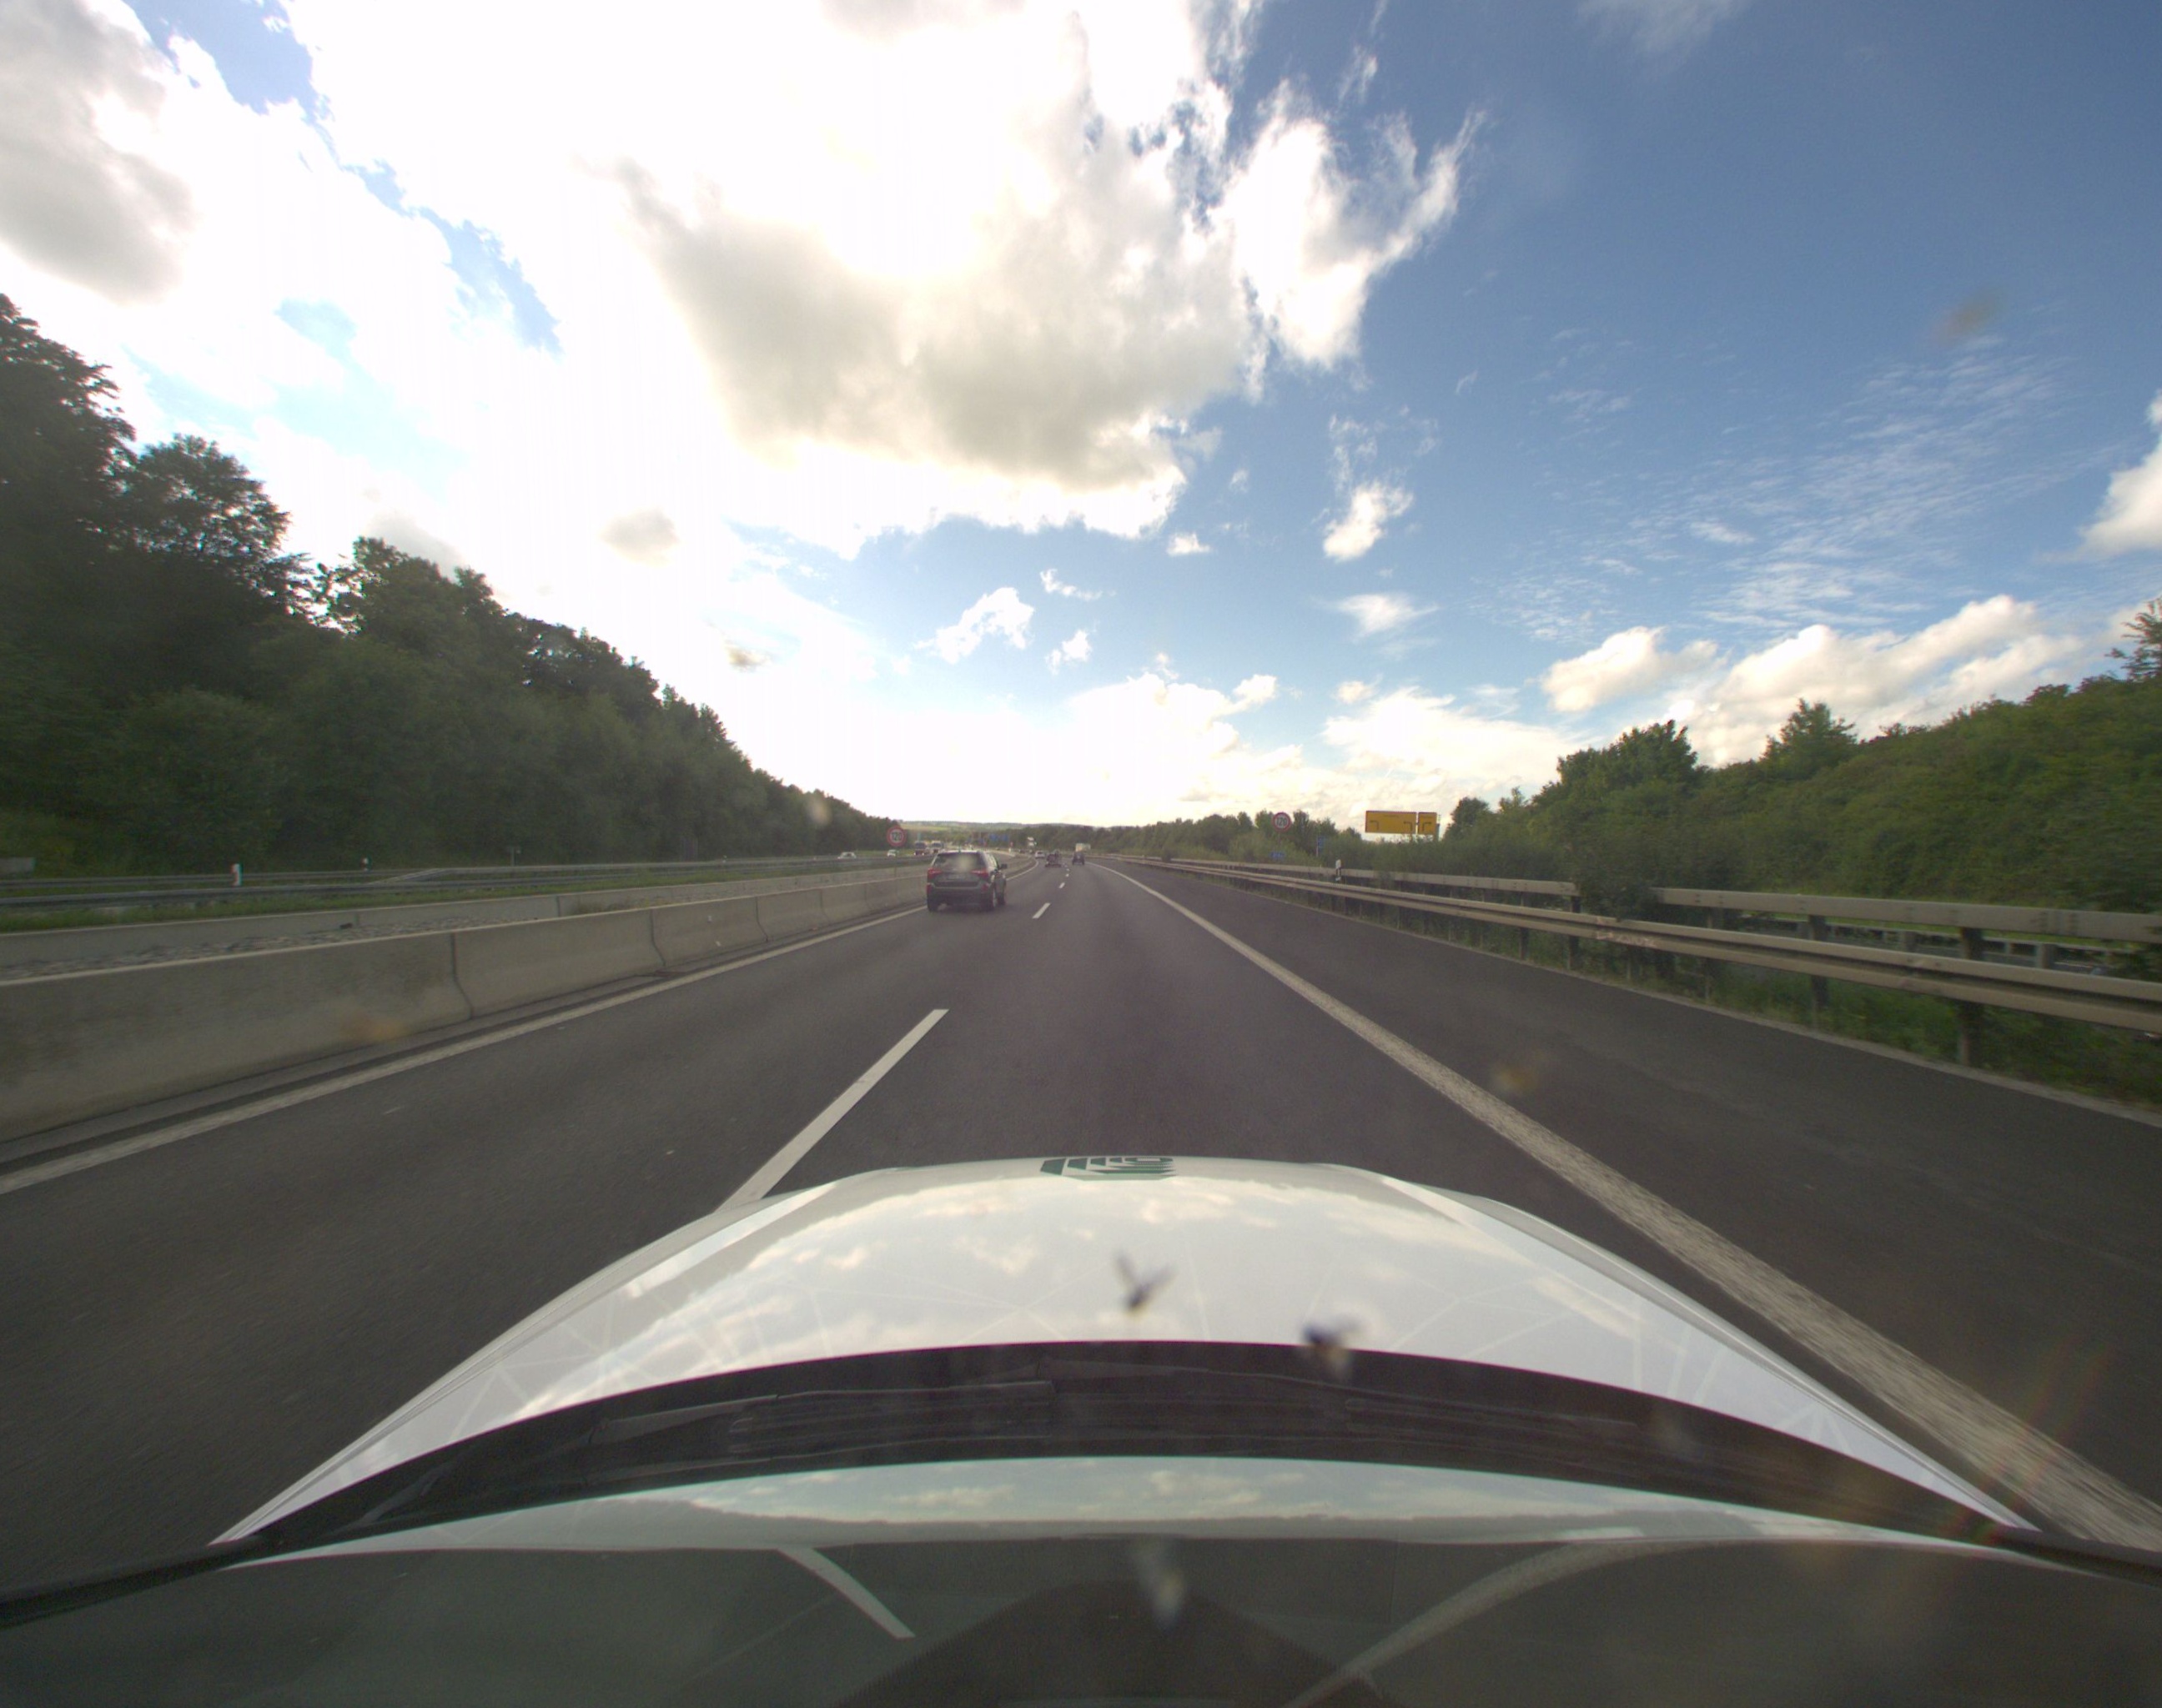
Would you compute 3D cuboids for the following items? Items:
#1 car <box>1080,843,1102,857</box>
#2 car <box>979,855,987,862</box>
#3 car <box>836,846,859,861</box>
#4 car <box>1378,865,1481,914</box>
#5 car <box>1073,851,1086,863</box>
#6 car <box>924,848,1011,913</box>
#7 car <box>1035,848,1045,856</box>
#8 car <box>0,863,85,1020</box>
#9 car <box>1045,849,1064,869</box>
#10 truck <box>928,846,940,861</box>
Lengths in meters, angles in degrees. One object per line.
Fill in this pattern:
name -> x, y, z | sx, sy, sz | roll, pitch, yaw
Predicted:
car -> 3.321, -1.330, 265.381 | 4.733, 4.266, 11.354 | 0, -1, -12
car -> -24.515, 1.135, 203.330 | 1.708, 1.528, 4.761 | 0, -1, -2
car -> -31.038, -0.066, 108.364 | 1.987, 2.013, 3.999 | 0, 0, 0
car -> 12.441, 1.219, 29.416 | 1.779, 1.571, 4.341 | 0, 0, -2
car -> -0.196, 0.378, 105.711 | 1.583, 1.597, 4.091 | 0, 0, -3
car -> -3.259, 0.719, 24.296 | 1.811, 1.736, 5.186 | 0, 0, 0
car -> -8.995, -0.334, 178.509 | 1.991, 1.684, 3.991 | 0, -1, -6
car -> -11.864, 0.885, 6.458 | 1.758, 1.581, 4.934 | 0, 0, 2
car -> -2.974, 0.531, 91.700 | 2.024, 2.151, 3.999 | 0, 0, -1
truck -> -43.854, -0.091, 243.183 | 3.317, 4.293, 6.731 | 0, -1, -7
